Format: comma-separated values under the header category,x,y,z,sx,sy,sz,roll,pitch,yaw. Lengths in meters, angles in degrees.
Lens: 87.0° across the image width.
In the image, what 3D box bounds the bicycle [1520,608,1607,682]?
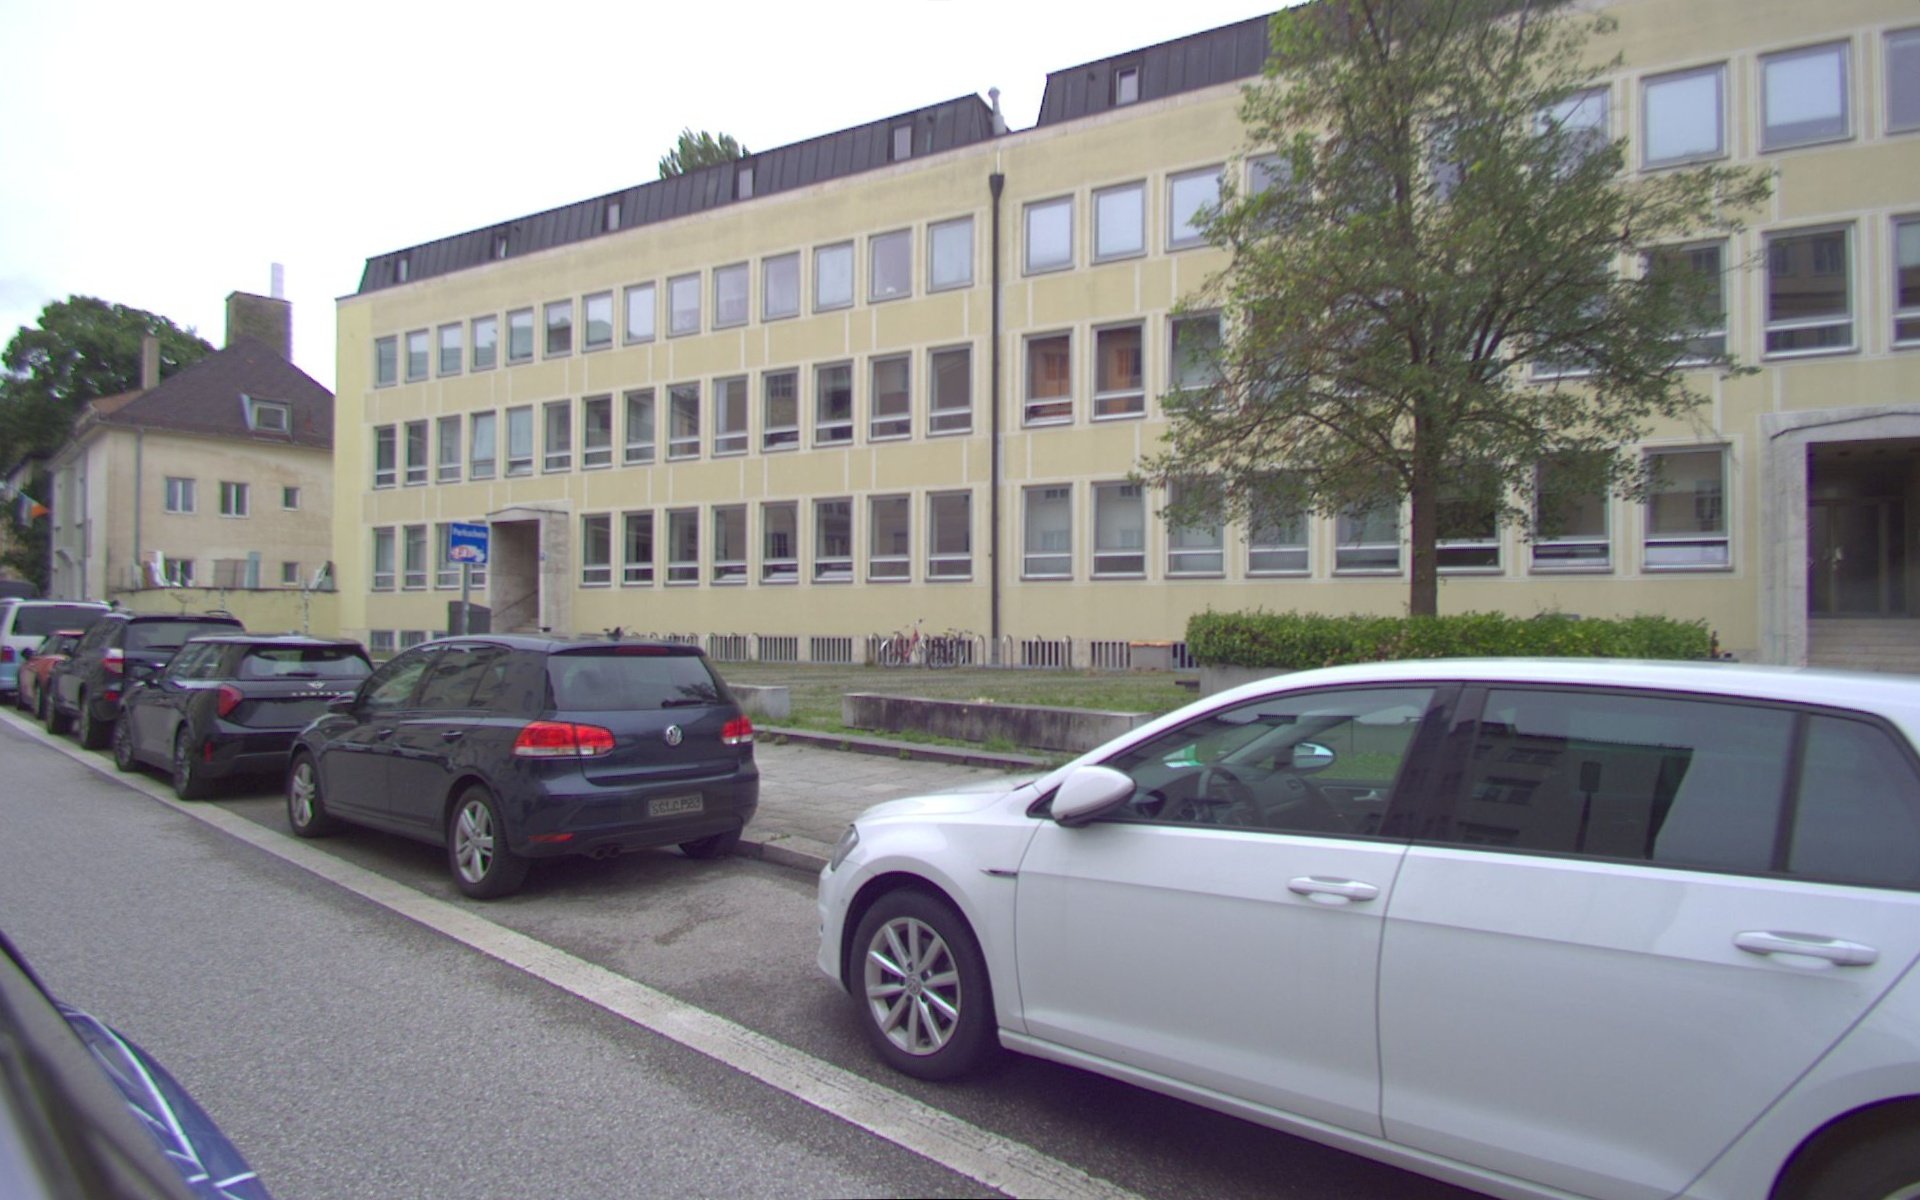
category,x,y,z,sx,sy,sz,roll,pitch,yaw
bicycle,10.933,0.786,18.432,1.050,1.258,2.422,-1,-1,24

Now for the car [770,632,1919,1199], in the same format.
category,x,y,z,sx,sy,sz,roll,pitch,yaw
car,1.420,0.849,3.018,4.068,1.465,1.640,-1,-4,39

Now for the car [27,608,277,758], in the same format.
category,x,y,z,sx,sy,sz,roll,pitch,yaw
car,-10.867,1.034,13.500,4.446,1.679,1.725,-1,-5,41

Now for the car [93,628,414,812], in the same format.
category,x,y,z,sx,sy,sz,roll,pitch,yaw
car,-7.075,1.035,10.001,3.867,1.465,1.663,-2,-4,41

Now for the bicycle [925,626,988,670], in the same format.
category,x,y,z,sx,sy,sz,roll,pitch,yaw
bicycle,-0.062,1.158,24.763,0.623,1.022,1.932,-1,-2,31

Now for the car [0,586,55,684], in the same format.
category,x,y,z,sx,sy,sz,roll,pitch,yaw
car,-28.125,1.000,29.330,5.653,2.666,2.272,-2,-3,43

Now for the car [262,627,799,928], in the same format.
category,x,y,z,sx,sy,sz,roll,pitch,yaw
car,-3.060,0.942,6.859,3.969,1.465,1.640,-1,-4,39

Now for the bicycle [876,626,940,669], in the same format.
category,x,y,z,sx,sy,sz,roll,pitch,yaw
bicycle,-1.291,1.187,25.496,0.623,1.022,1.932,-1,-2,31

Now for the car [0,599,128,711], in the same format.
category,x,y,z,sx,sy,sz,roll,pitch,yaw
car,-18.550,1.053,20.275,5.017,1.994,1.909,-1,-3,39

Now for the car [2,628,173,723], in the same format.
category,x,y,z,sx,sy,sz,roll,pitch,yaw
car,-14.967,1.202,17.304,3.917,1.398,1.725,-1,-1,42

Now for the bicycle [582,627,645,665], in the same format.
category,x,y,z,sx,sy,sz,roll,pitch,yaw
bicycle,-10.174,1.346,29.755,0.577,1.022,1.937,-1,0,24

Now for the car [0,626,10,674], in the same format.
category,x,y,z,sx,sy,sz,roll,pitch,yaw
car,-32.092,1.592,32.543,3.484,1.505,1.685,-1,-1,37
